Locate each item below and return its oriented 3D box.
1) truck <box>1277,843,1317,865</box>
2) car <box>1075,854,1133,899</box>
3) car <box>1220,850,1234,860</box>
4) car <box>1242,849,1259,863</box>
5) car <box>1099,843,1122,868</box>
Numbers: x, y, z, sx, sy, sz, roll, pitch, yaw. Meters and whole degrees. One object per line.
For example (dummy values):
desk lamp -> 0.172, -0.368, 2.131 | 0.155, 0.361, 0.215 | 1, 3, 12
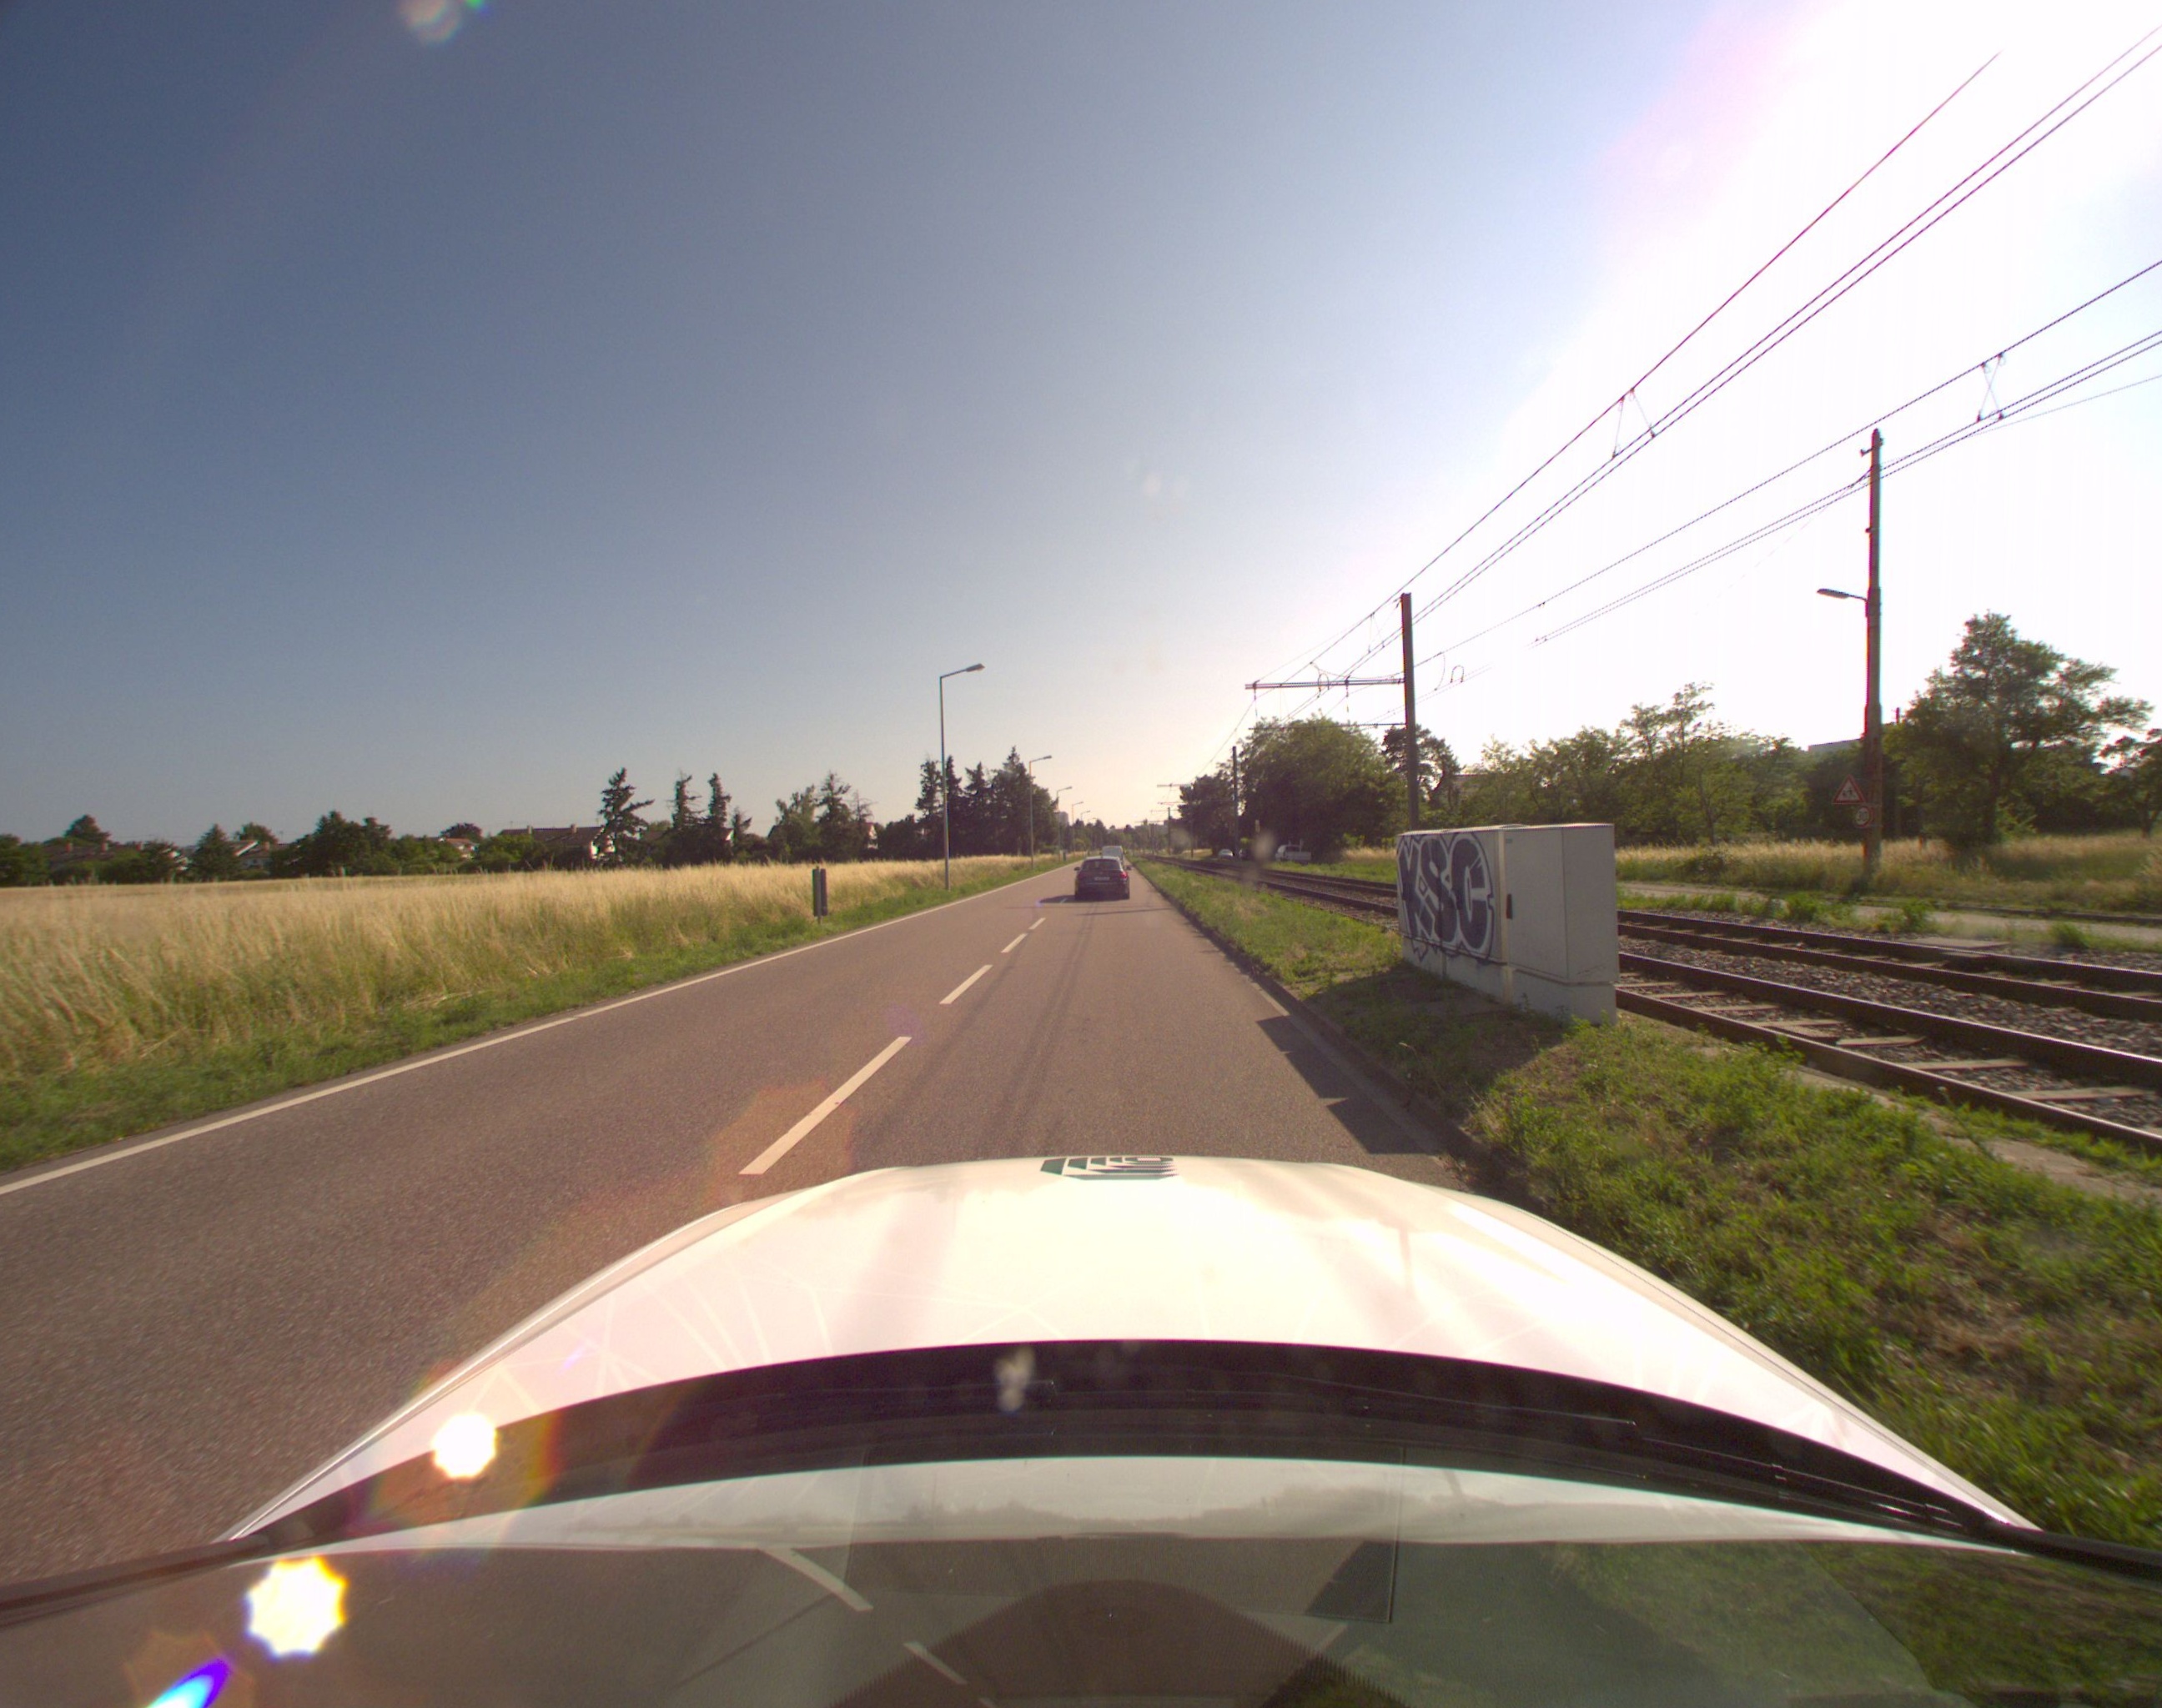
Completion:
truck -> 19.375, 0.015, 73.296 | 2.196, 1.819, 5.932 | -1, 0, 2
car -> 0.869, 0.726, 29.001 | 1.861, 1.452, 4.747 | -1, 0, 3
car -> 21.367, 0.117, 119.331 | 1.615, 1.398, 3.492 | 0, -1, 3
car -> 21.112, 0.267, 101.380 | 1.726, 1.679, 3.549 | 0, -1, 5
car -> 2.544, 0.100, 70.524 | 1.851, 1.988, 5.109 | -1, 0, 1
